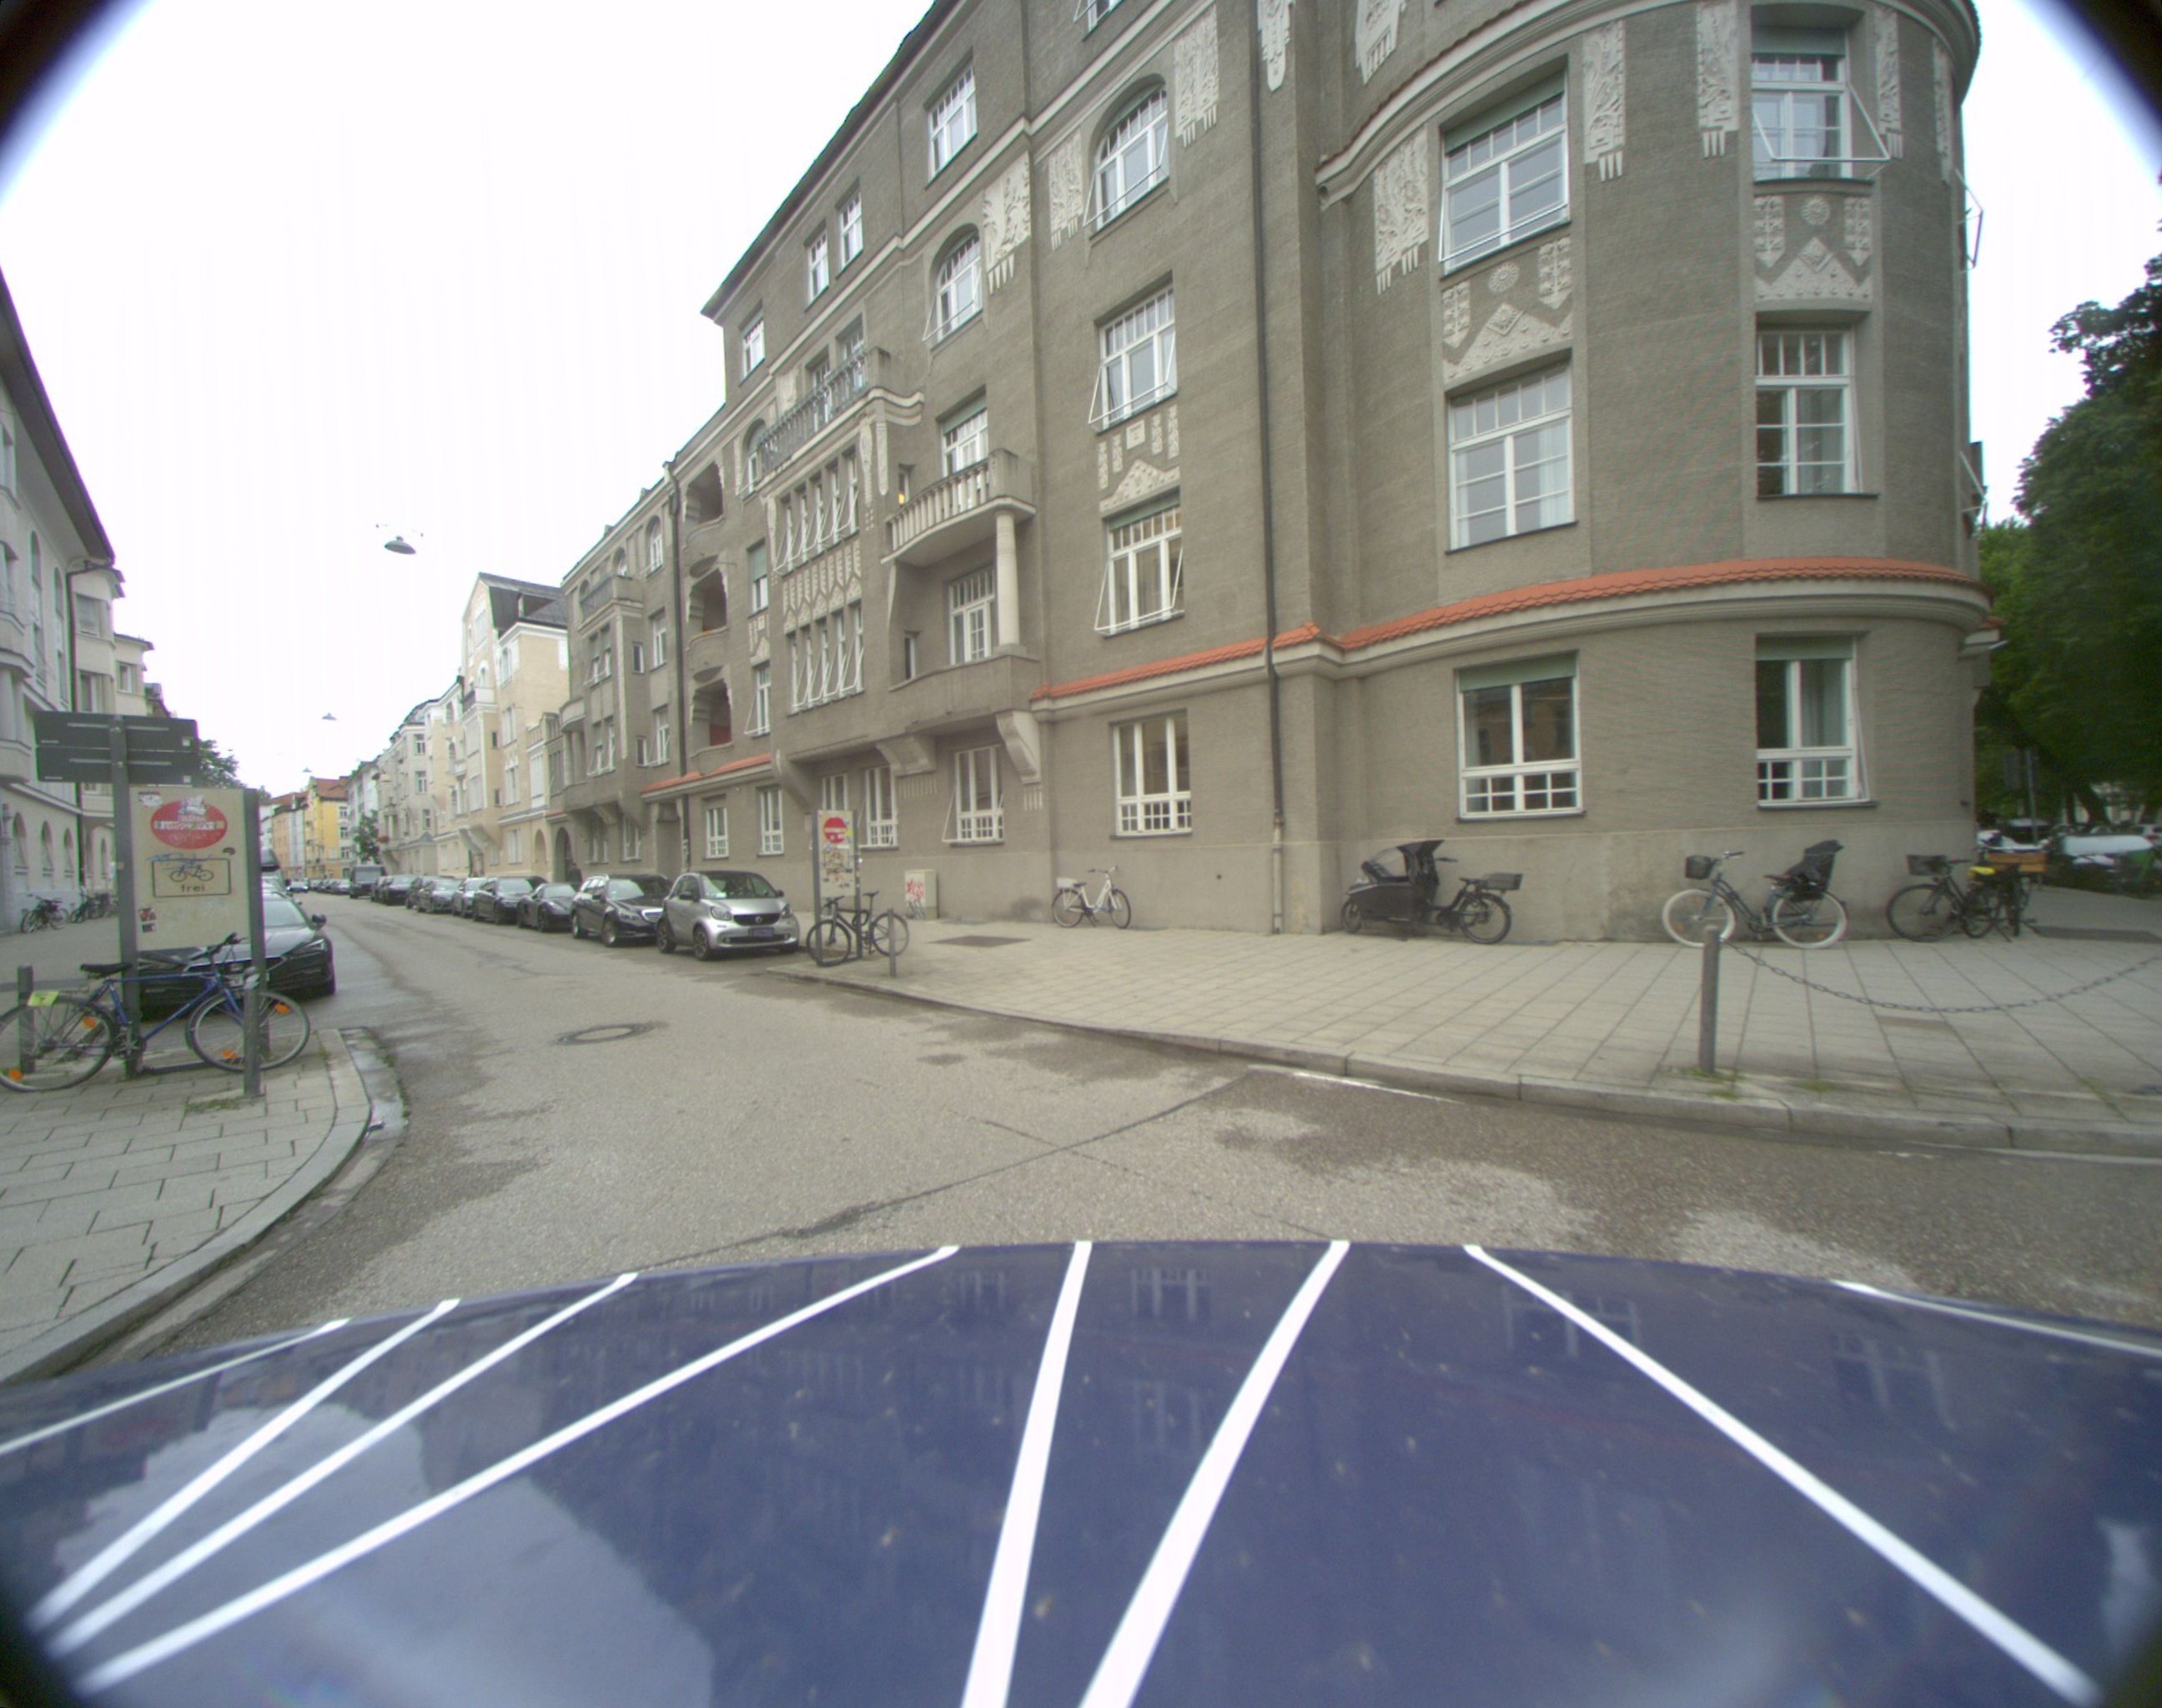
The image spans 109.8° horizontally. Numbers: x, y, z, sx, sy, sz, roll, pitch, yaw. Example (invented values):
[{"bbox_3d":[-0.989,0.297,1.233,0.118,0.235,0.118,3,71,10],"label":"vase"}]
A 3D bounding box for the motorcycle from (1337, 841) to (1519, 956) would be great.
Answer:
[{"bbox_3d":[4.760,0.582,10.531,2.141,1.432,0.739,-1,2,41],"label":"motorcycle"}]

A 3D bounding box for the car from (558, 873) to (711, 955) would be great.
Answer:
[{"bbox_3d":[-10.089,1.232,17.006,4.694,1.506,1.764,-2,1,45],"label":"car"}]

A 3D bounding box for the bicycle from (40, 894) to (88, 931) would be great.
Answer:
[{"bbox_3d":[-34.653,1.974,25.917,0.484,1.144,1.783,-3,2,-38],"label":"bicycle"}]

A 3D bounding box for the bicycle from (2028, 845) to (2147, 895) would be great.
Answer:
[{"bbox_3d":[24.144,0.376,18.266,0.513,1.140,1.680,-3,1,-32],"label":"bicycle"}]

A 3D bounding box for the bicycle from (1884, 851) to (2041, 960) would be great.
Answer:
[{"bbox_3d":[10.735,0.589,9.248,1.928,1.151,0.564,-3,5,-20],"label":"bicycle"}]

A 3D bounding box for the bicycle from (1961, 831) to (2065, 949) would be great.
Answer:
[{"bbox_3d":[12.561,0.433,10.224,1.929,1.405,0.736,-3,2,-35],"label":"bicycle"}]

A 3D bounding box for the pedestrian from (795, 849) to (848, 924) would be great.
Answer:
[{"bbox_3d":[-6.429,0.784,18.853,0.843,1.777,0.933,-4,2,-44],"label":"pedestrian"}]

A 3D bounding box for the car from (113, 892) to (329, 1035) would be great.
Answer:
[{"bbox_3d":[-12.231,1.361,10.859,4.598,1.463,1.701,-1,1,41],"label":"car"}]

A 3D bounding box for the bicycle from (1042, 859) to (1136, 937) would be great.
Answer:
[{"bbox_3d":[0.128,0.791,14.108,1.670,1.342,0.622,-1,2,39],"label":"bicycle"}]

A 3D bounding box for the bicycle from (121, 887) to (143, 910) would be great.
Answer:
[{"bbox_3d":[-49.134,2.283,39.345,1.962,1.111,0.495,-1,2,43],"label":"bicycle"}]

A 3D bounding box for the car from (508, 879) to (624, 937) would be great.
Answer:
[{"bbox_3d":[-14.152,1.408,20.777,4.085,1.323,1.764,-2,1,44],"label":"car"}]

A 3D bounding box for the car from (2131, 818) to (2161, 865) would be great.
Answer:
[{"bbox_3d":[43.112,-0.524,29.406,1.772,1.825,4.525,-1,0,39],"label":"car"}]

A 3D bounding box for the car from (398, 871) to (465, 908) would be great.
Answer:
[{"bbox_3d":[-30.788,1.652,36.002,3.803,1.563,1.812,-1,1,41],"label":"car"}]

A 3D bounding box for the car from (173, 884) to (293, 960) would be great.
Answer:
[{"bbox_3d":[-20.263,1.530,18.119,3.844,1.528,1.642,-1,1,39],"label":"car"}]

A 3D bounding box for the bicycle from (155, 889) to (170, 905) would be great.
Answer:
[{"bbox_3d":[-60.201,2.792,49.807,1.812,0.952,0.541,-1,2,41],"label":"bicycle"}]

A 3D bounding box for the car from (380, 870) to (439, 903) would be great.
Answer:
[{"bbox_3d":[-37.661,1.787,42.560,4.604,1.649,1.961,-1,1,43],"label":"car"}]

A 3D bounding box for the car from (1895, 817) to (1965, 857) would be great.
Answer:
[{"bbox_3d":[44.602,-0.934,39.995,1.994,1.940,4.669,-2,1,43],"label":"car"}]

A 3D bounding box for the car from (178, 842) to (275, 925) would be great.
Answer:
[{"bbox_3d":[-34.396,1.097,30.687,6.114,2.943,2.266,0,3,42],"label":"car"}]

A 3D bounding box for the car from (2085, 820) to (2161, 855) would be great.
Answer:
[{"bbox_3d":[46.503,-0.727,33.439,1.772,1.424,4.525,-1,0,39],"label":"car"}]

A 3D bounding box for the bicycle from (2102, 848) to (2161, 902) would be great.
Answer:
[{"bbox_3d":[23.263,0.442,16.235,0.513,1.140,1.680,-3,1,-32],"label":"bicycle"}]

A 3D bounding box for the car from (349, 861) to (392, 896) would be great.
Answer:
[{"bbox_3d":[-54.889,1.860,58.651,5.662,2.605,2.110,-1,0,44],"label":"car"}]

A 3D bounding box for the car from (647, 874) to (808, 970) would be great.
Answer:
[{"bbox_3d":[-6.538,1.156,13.970,2.903,1.506,1.713,-1,0,44],"label":"car"}]

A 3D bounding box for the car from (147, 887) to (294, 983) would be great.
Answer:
[{"bbox_3d":[-16.509,1.435,14.602,3.844,1.463,1.642,-1,1,41],"label":"car"}]

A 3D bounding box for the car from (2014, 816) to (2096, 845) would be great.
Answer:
[{"bbox_3d":[52.820,-1.256,41.317,1.772,1.424,4.525,-1,0,39],"label":"car"}]

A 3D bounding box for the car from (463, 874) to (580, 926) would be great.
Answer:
[{"bbox_3d":[-18.044,1.412,24.426,4.765,1.440,2.004,-1,1,41],"label":"car"}]

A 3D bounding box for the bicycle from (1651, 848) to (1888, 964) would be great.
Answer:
[{"bbox_3d":[7.938,0.598,8.851,1.923,1.249,0.739,-2,1,12],"label":"bicycle"}]

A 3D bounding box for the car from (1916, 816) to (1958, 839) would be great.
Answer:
[{"bbox_3d":[75.213,-2.335,66.796,1.994,1.941,4.669,-1,1,43],"label":"car"}]

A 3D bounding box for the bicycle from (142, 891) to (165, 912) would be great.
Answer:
[{"bbox_3d":[-53.668,2.735,43.984,1.962,1.111,0.649,-1,2,43],"label":"bicycle"}]

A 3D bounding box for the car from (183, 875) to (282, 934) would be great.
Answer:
[{"bbox_3d":[-28.695,1.634,25.841,4.661,1.679,2.003,-2,2,43],"label":"car"}]

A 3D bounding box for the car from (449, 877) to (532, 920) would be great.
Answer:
[{"bbox_3d":[-21.914,1.574,28.142,4.427,1.423,1.815,-2,-1,44],"label":"car"}]

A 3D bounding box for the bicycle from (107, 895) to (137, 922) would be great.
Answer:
[{"bbox_3d":[-44.116,2.493,34.971,1.962,1.111,0.644,-1,2,43],"label":"bicycle"}]

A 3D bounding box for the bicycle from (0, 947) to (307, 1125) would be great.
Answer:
[{"bbox_3d":[-7.174,1.325,5.694,1.799,1.079,0.665,-1,-1,-20],"label":"bicycle"}]

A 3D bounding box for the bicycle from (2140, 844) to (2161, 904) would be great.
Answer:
[{"bbox_3d":[21.496,0.378,14.364,0.513,1.140,1.680,-3,1,-32],"label":"bicycle"}]

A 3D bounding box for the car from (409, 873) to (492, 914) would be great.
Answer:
[{"bbox_3d":[-26.389,1.596,31.755,4.595,1.504,1.847,-1,0,40],"label":"car"}]

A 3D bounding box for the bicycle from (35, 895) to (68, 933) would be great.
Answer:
[{"bbox_3d":[-32.883,1.906,24.282,1.783,1.143,0.484,-1,-1,41],"label":"bicycle"}]

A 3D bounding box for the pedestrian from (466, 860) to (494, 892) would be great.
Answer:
[{"bbox_3d":[-33.114,1.193,41.861,0.937,1.719,0.998,-1,2,43],"label":"pedestrian"}]

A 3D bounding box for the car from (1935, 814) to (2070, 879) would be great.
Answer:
[{"bbox_3d":[30.639,-0.293,25.430,1.994,1.941,4.669,-1,1,39],"label":"car"}]

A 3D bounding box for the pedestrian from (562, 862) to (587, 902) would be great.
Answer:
[{"bbox_3d":[-23.632,1.287,35.459,0.728,1.807,0.720,-1,2,42],"label":"pedestrian"}]

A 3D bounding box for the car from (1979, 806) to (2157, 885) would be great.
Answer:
[{"bbox_3d":[27.022,-0.280,21.020,1.994,1.941,4.669,-1,1,39],"label":"car"}]

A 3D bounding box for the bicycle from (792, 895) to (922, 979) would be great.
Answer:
[{"bbox_3d":[-3.330,1.205,11.442,0.538,1.009,1.811,-1,2,42],"label":"bicycle"}]

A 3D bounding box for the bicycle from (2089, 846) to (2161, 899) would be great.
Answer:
[{"bbox_3d":[23.758,0.395,16.824,0.513,1.140,1.680,-3,1,-32],"label":"bicycle"}]

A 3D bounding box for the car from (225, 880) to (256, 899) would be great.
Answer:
[{"bbox_3d":[-71.170,3.014,64.375,3.635,1.434,1.688,-1,1,43],"label":"car"}]
